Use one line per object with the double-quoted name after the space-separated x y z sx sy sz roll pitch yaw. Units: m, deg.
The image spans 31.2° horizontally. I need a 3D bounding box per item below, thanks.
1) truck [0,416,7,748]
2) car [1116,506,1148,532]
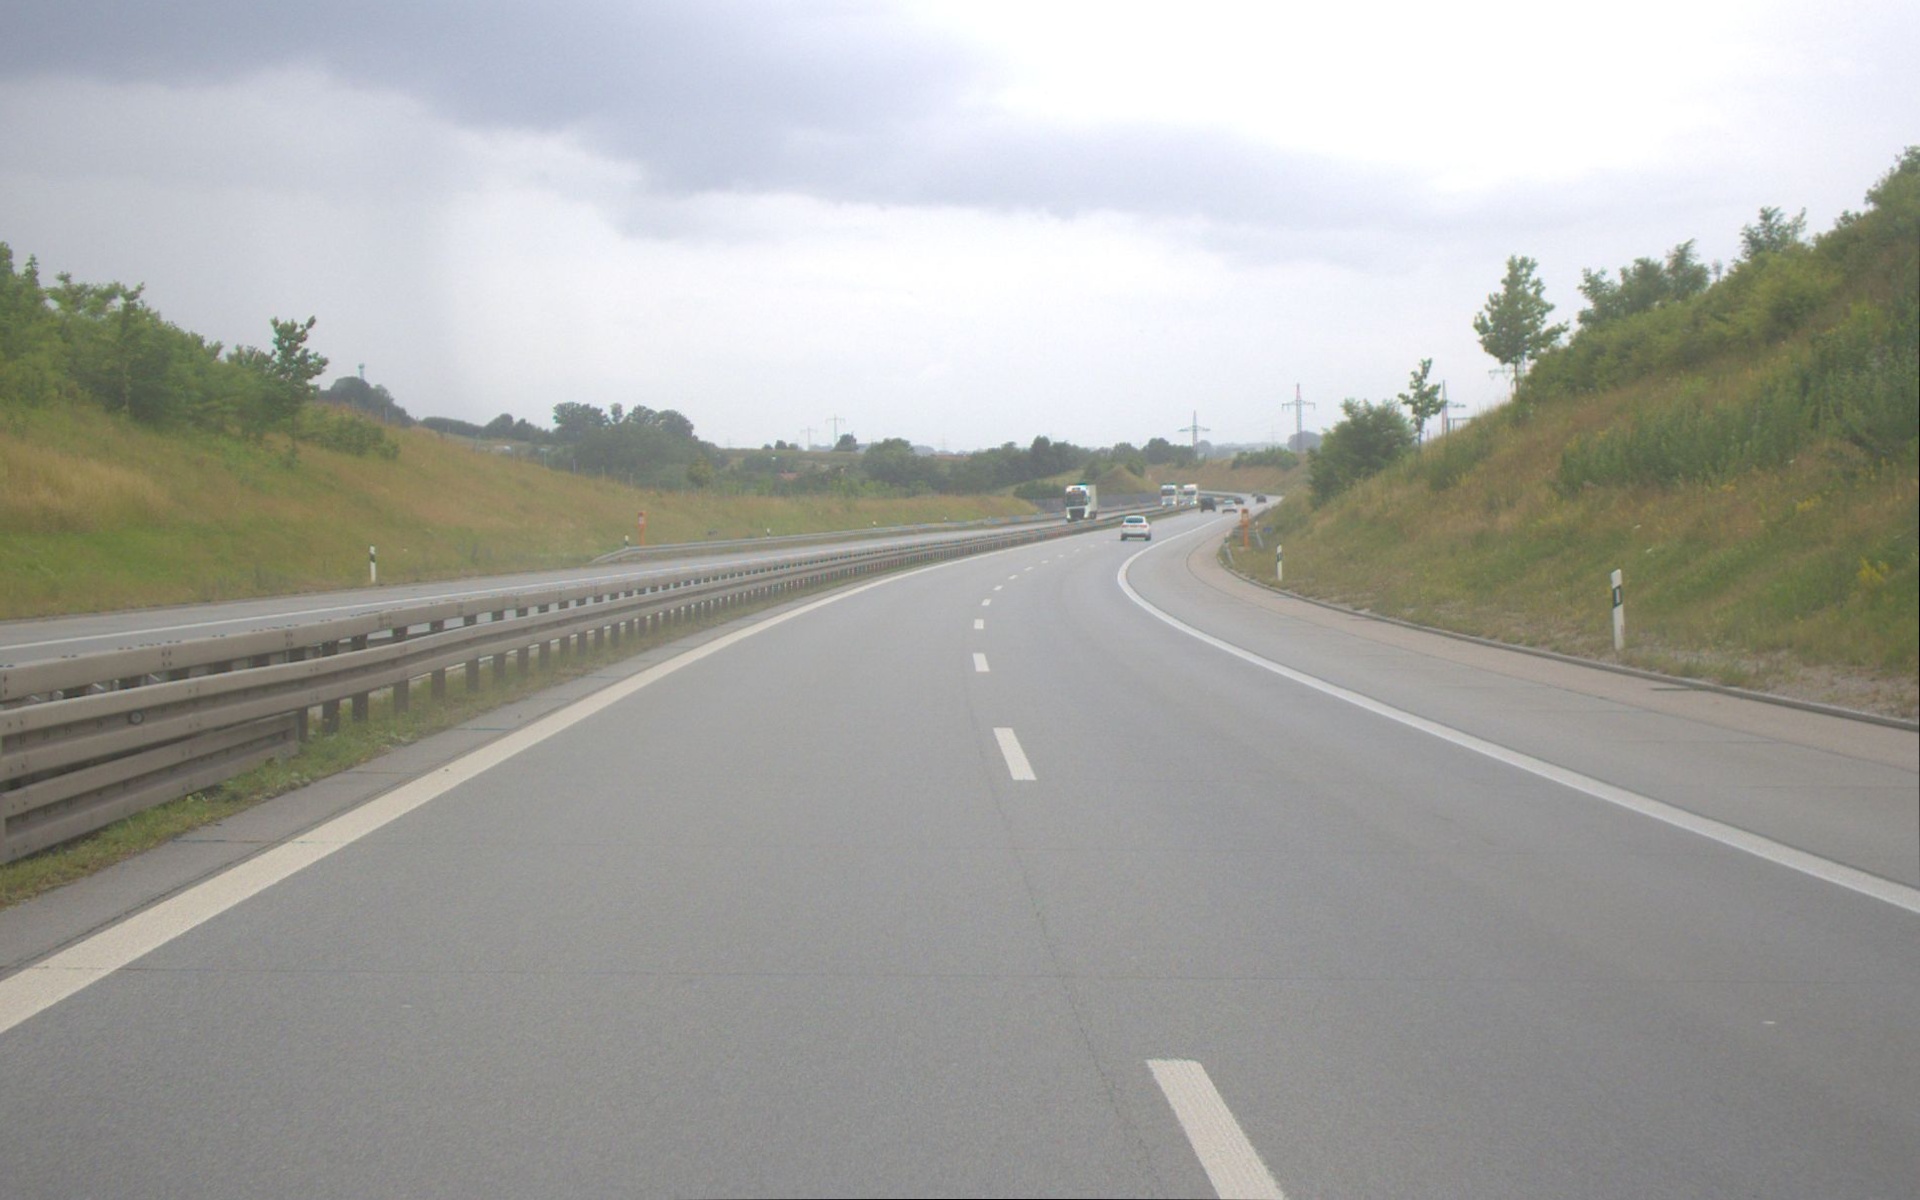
-8.286 -0.073 22.814 2.190 2.501 6.554 0 1 -1 "truck"
11.416 -5.382 228.238 1.957 1.645 3.999 0 1 5 "car"
